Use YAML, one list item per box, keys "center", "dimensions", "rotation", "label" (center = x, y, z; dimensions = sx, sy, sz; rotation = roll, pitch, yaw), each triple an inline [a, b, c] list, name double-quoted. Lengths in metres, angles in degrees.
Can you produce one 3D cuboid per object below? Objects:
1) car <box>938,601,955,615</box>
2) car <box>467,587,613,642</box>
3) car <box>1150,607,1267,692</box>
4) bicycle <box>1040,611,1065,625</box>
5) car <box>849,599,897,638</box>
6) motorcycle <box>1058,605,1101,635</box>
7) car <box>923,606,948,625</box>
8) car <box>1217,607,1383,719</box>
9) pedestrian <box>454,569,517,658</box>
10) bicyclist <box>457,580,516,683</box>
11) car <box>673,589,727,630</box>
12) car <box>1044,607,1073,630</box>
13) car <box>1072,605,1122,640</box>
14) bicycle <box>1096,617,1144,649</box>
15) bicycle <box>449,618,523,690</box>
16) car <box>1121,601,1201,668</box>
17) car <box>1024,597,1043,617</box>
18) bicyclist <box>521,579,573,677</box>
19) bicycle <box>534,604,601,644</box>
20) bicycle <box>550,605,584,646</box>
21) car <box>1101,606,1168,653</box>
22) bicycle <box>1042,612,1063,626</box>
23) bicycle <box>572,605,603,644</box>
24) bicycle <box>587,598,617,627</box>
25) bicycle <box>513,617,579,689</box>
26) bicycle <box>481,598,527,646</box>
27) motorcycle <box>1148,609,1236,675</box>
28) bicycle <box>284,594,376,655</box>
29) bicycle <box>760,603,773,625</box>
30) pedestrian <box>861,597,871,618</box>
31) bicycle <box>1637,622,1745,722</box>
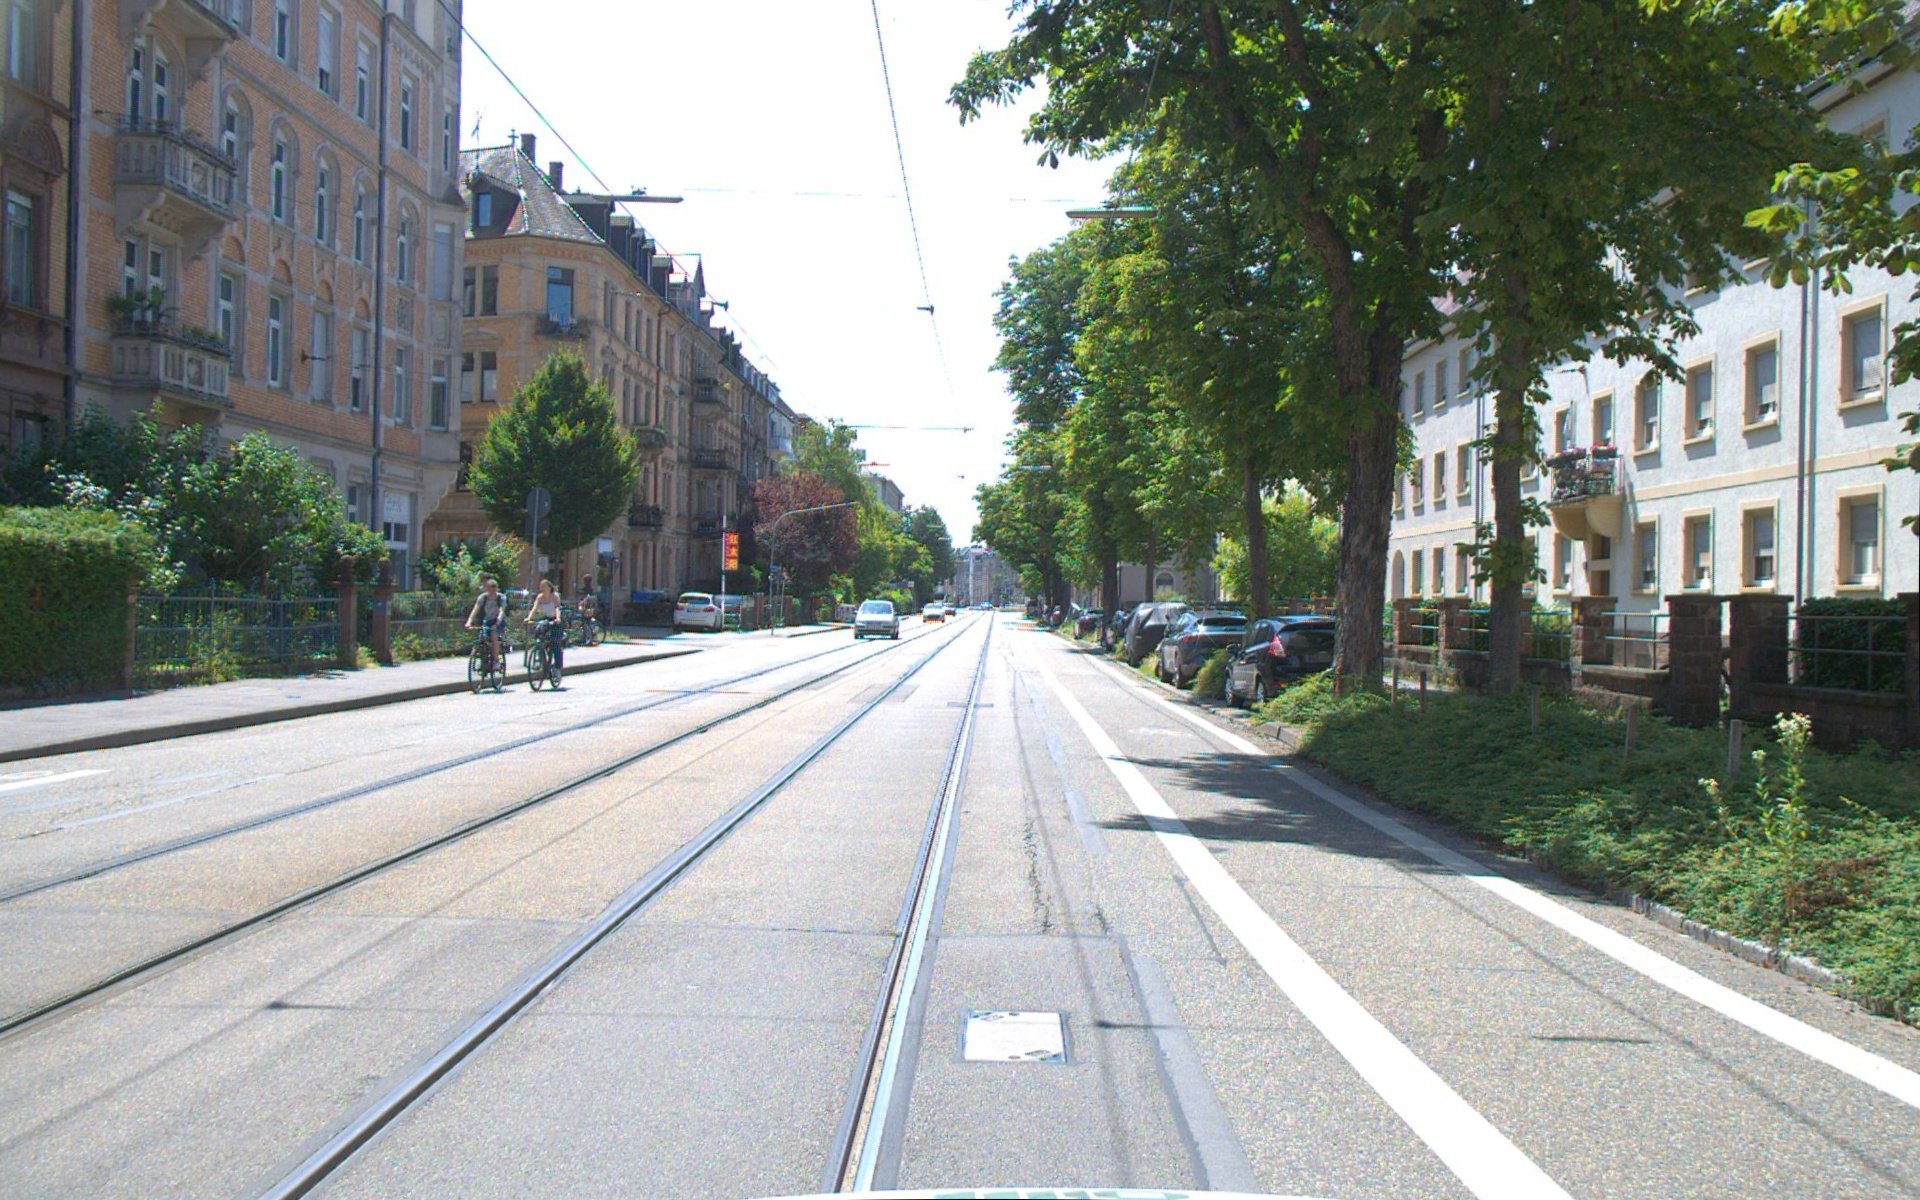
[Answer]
- center: [-1.499, 0.877, 184.754]
  dimensions: [1.651, 1.480, 3.749]
  rotation: [1, 0, 1]
  label: "car"
- center: [-12.046, 0.428, 47.578]
  dimensions: [3.682, 1.453, 1.713]
  rotation: [2, -1, 1]
  label: "car"
- center: [5.063, 0.959, 34.212]
  dimensions: [1.697, 1.579, 4.453]
  rotation: [1, 0, -1]
  label: "car"
- center: [7.030, 1.362, 125.383]
  dimensions: [1.849, 1.070, 0.538]
  rotation: [1, -1, 8]
  label: "bicycle"
- center: [-3.454, 0.731, 66.003]
  dimensions: [1.650, 1.475, 4.000]
  rotation: [1, 0, 1]
  label: "car"
- center: [6.480, 1.072, 89.872]
  dimensions: [2.281, 1.567, 0.863]
  rotation: [2, 0, 44]
  label: "motorcycle"
- center: [-1.888, 1.188, 126.535]
  dimensions: [1.720, 1.449, 4.001]
  rotation: [1, 0, 2]
  label: "car"
- center: [5.171, 0.904, 25.613]
  dimensions: [1.623, 1.541, 3.999]
  rotation: [1, 0, -2]
  label: "car"
- center: [-9.835, 0.275, 34.286]
  dimensions: [0.834, 1.753, 1.139]
  rotation: [4, 0, 2]
  label: "pedestrian"
- center: [-7.601, 0.496, 26.587]
  dimensions: [0.621, 1.612, 1.028]
  rotation: [0, 0, 1]
  label: "bicyclist"
- center: [-11.008, 0.402, 70.218]
  dimensions: [1.829, 1.628, 4.098]
  rotation: [3, 0, -4]
  label: "car"
- center: [6.633, 1.239, 111.415]
  dimensions: [1.737, 1.527, 4.305]
  rotation: [0, 0, 0]
  label: "car"
- center: [6.127, 0.975, 74.560]
  dimensions: [1.733, 1.451, 4.861]
  rotation: [1, 0, -1]
  label: "car"
- center: [5.756, 1.196, 59.682]
  dimensions: [1.621, 1.097, 0.605]
  rotation: [1, 0, -6]
  label: "bicycle"
- center: [-7.602, 0.842, 26.581]
  dimensions: [0.616, 1.097, 1.875]
  rotation: [0, 0, 1]
  label: "bicycle"
- center: [5.411, 0.889, 45.041]
  dimensions: [1.906, 1.679, 4.882]
  rotation: [1, 0, 4]
  label: "car"
- center: [8.158, 0.764, 184.513]
  dimensions: [1.952, 2.071, 4.697]
  rotation: [1, 0, 1]
  label: "car"
- center: [-6.724, 0.446, 26.962]
  dimensions: [0.580, 1.571, 0.952]
  rotation: [0, 0, 1]
  label: "bicyclist"
- center: [-10.802, 0.651, 45.539]
  dimensions: [1.669, 1.055, 0.551]
  rotation: [2, 0, 5]
  label: "bicycle"
- center: [-9.996, 0.644, 42.103]
  dimensions: [0.430, 1.000, 1.710]
  rotation: [1, 0, -1]
  label: "bicycle"
- center: [5.775, 0.952, 55.109]
  dimensions: [1.660, 1.443, 4.356]
  rotation: [1, 0, -1]
  label: "car"
- center: [7.840, 1.614, 139.721]
  dimensions: [1.778, 1.133, 0.493]
  rotation: [0, -2, 0]
  label: "bicycle"
- center: [-9.943, 0.652, 44.145]
  dimensions: [0.430, 1.000, 1.710]
  rotation: [1, 0, -1]
  label: "bicycle"
- center: [-15.071, 0.519, 69.591]
  dimensions: [0.625, 1.208, 2.145]
  rotation: [1, 0, 4]
  label: "bicycle"
- center: [-6.727, 0.844, 26.943]
  dimensions: [0.569, 1.097, 1.891]
  rotation: [0, 0, 1]
  label: "bicycle"
- center: [-10.172, 0.488, 36.962]
  dimensions: [0.486, 1.004, 1.710]
  rotation: [5, 0, -1]
  label: "bicycle"
- center: [5.331, 0.959, 38.057]
  dimensions: [1.877, 1.458, 0.670]
  rotation: [2, 0, -8]
  label: "motorcycle"
- center: [-11.497, 0.440, 30.208]
  dimensions: [1.478, 1.062, 0.495]
  rotation: [1, 0, 2]
  label: "bicycle"
- center: [-9.253, 0.682, 79.248]
  dimensions: [0.445, 1.021, 1.806]
  rotation: [2, 0, -2]
  label: "bicycle"
- center: [-7.506, 0.602, 131.579]
  dimensions: [0.736, 1.657, 0.832]
  rotation: [2, -1, -4]
  label: "pedestrian"
- center: [9.713, 0.931, 22.041]
  dimensions: [0.584, 1.231, 1.970]
  rotation: [-1, 0, 1]
  label: "bicycle"
